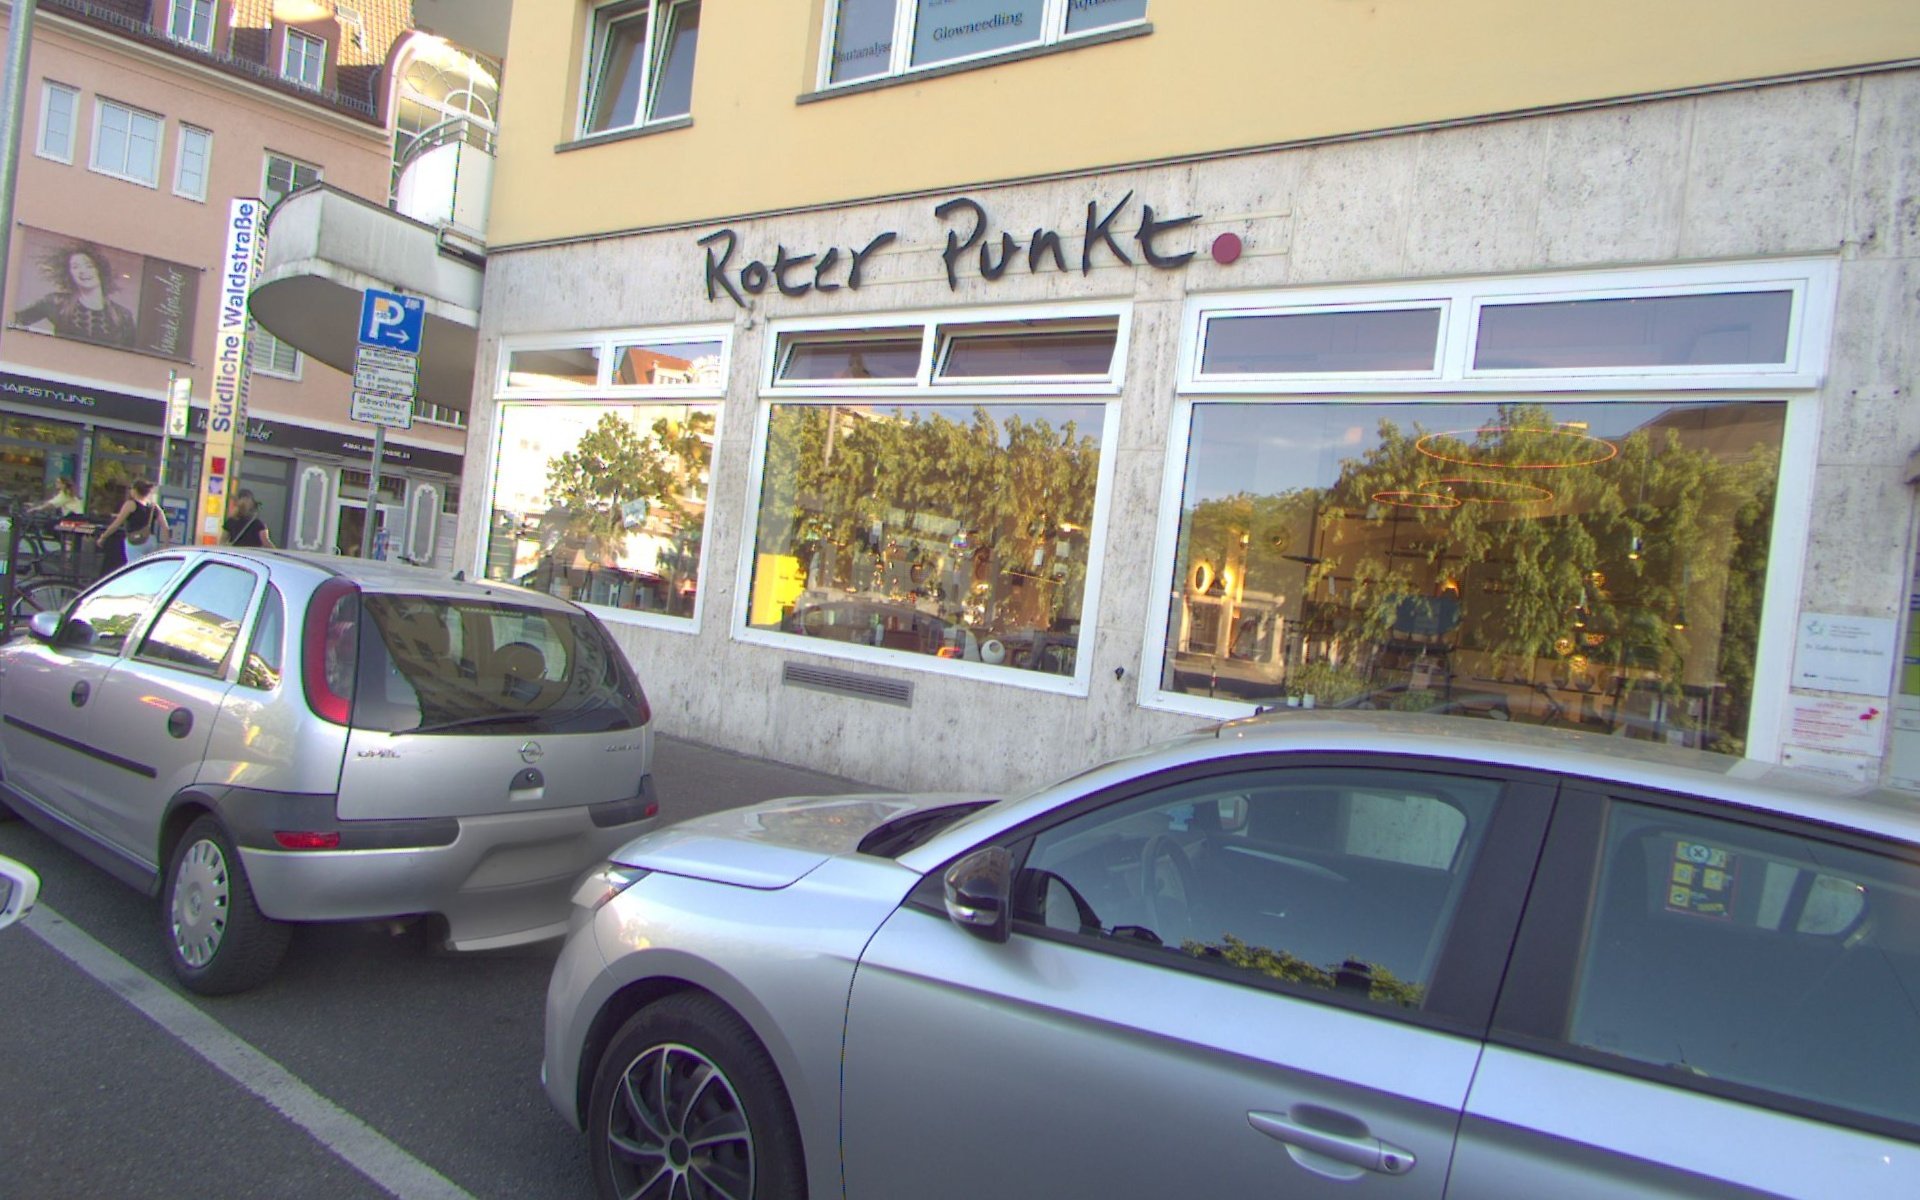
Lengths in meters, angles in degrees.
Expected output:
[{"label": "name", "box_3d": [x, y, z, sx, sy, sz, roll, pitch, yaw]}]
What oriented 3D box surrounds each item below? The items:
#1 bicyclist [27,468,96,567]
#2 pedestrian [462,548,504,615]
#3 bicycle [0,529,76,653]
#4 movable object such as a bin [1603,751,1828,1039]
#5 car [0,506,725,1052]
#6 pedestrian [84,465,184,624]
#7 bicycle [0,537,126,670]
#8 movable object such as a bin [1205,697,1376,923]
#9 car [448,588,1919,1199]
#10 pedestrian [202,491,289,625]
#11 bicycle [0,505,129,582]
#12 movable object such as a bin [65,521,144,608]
[{"label": "bicyclist", "box_3d": [-16.016, -1.459, 17.954, 0.822, 1.635, 0.573, 5, 2, -42]}, {"label": "pedestrian", "box_3d": [-11.985, -0.465, 25.271, 0.716, 1.567, 0.786, 8, -1, -29]}, {"label": "bicycle", "box_3d": [-9.064, -0.153, 8.802, 0.642, 1.072, 1.816, 7, -1, 33]}, {"label": "movable object such as a bin", "box_3d": [3.365, 1.264, 4.550, 0.639, 1.035, 0.738, 6, -1, 31]}, {"label": "car", "box_3d": [-2.965, 0.482, 4.465, 3.520, 1.443, 1.587, 6, -2, 32]}, {"label": "pedestrian", "box_3d": [-10.250, -0.680, 12.489, 0.879, 1.875, 0.680, 6, 3, 33]}, {"label": "bicycle", "box_3d": [-8.173, 0.001, 8.257, 0.642, 1.057, 1.884, 7, 0, 33]}, {"label": "movable object such as a bin", "box_3d": [1.817, 1.095, 5.480, 0.639, 1.035, 0.738, 6, -1, 31]}, {"label": "car", "box_3d": [0.772, 0.942, 2.285, 3.624, 1.453, 1.587, 6, -2, 30]}, {"label": "pedestrian", "box_3d": [-10.005, -0.582, 14.086, 0.776, 1.777, 0.720, 6, 2, 37]}, {"label": "bicycle", "box_3d": [-16.111, -1.010, 17.926, 1.945, 1.173, 0.569, 5, 1, -42]}, {"label": "movable object such as a bin", "box_3d": [-11.968, -0.492, 14.072, 0.716, 1.117, 0.636, 7, 2, 35]}]
